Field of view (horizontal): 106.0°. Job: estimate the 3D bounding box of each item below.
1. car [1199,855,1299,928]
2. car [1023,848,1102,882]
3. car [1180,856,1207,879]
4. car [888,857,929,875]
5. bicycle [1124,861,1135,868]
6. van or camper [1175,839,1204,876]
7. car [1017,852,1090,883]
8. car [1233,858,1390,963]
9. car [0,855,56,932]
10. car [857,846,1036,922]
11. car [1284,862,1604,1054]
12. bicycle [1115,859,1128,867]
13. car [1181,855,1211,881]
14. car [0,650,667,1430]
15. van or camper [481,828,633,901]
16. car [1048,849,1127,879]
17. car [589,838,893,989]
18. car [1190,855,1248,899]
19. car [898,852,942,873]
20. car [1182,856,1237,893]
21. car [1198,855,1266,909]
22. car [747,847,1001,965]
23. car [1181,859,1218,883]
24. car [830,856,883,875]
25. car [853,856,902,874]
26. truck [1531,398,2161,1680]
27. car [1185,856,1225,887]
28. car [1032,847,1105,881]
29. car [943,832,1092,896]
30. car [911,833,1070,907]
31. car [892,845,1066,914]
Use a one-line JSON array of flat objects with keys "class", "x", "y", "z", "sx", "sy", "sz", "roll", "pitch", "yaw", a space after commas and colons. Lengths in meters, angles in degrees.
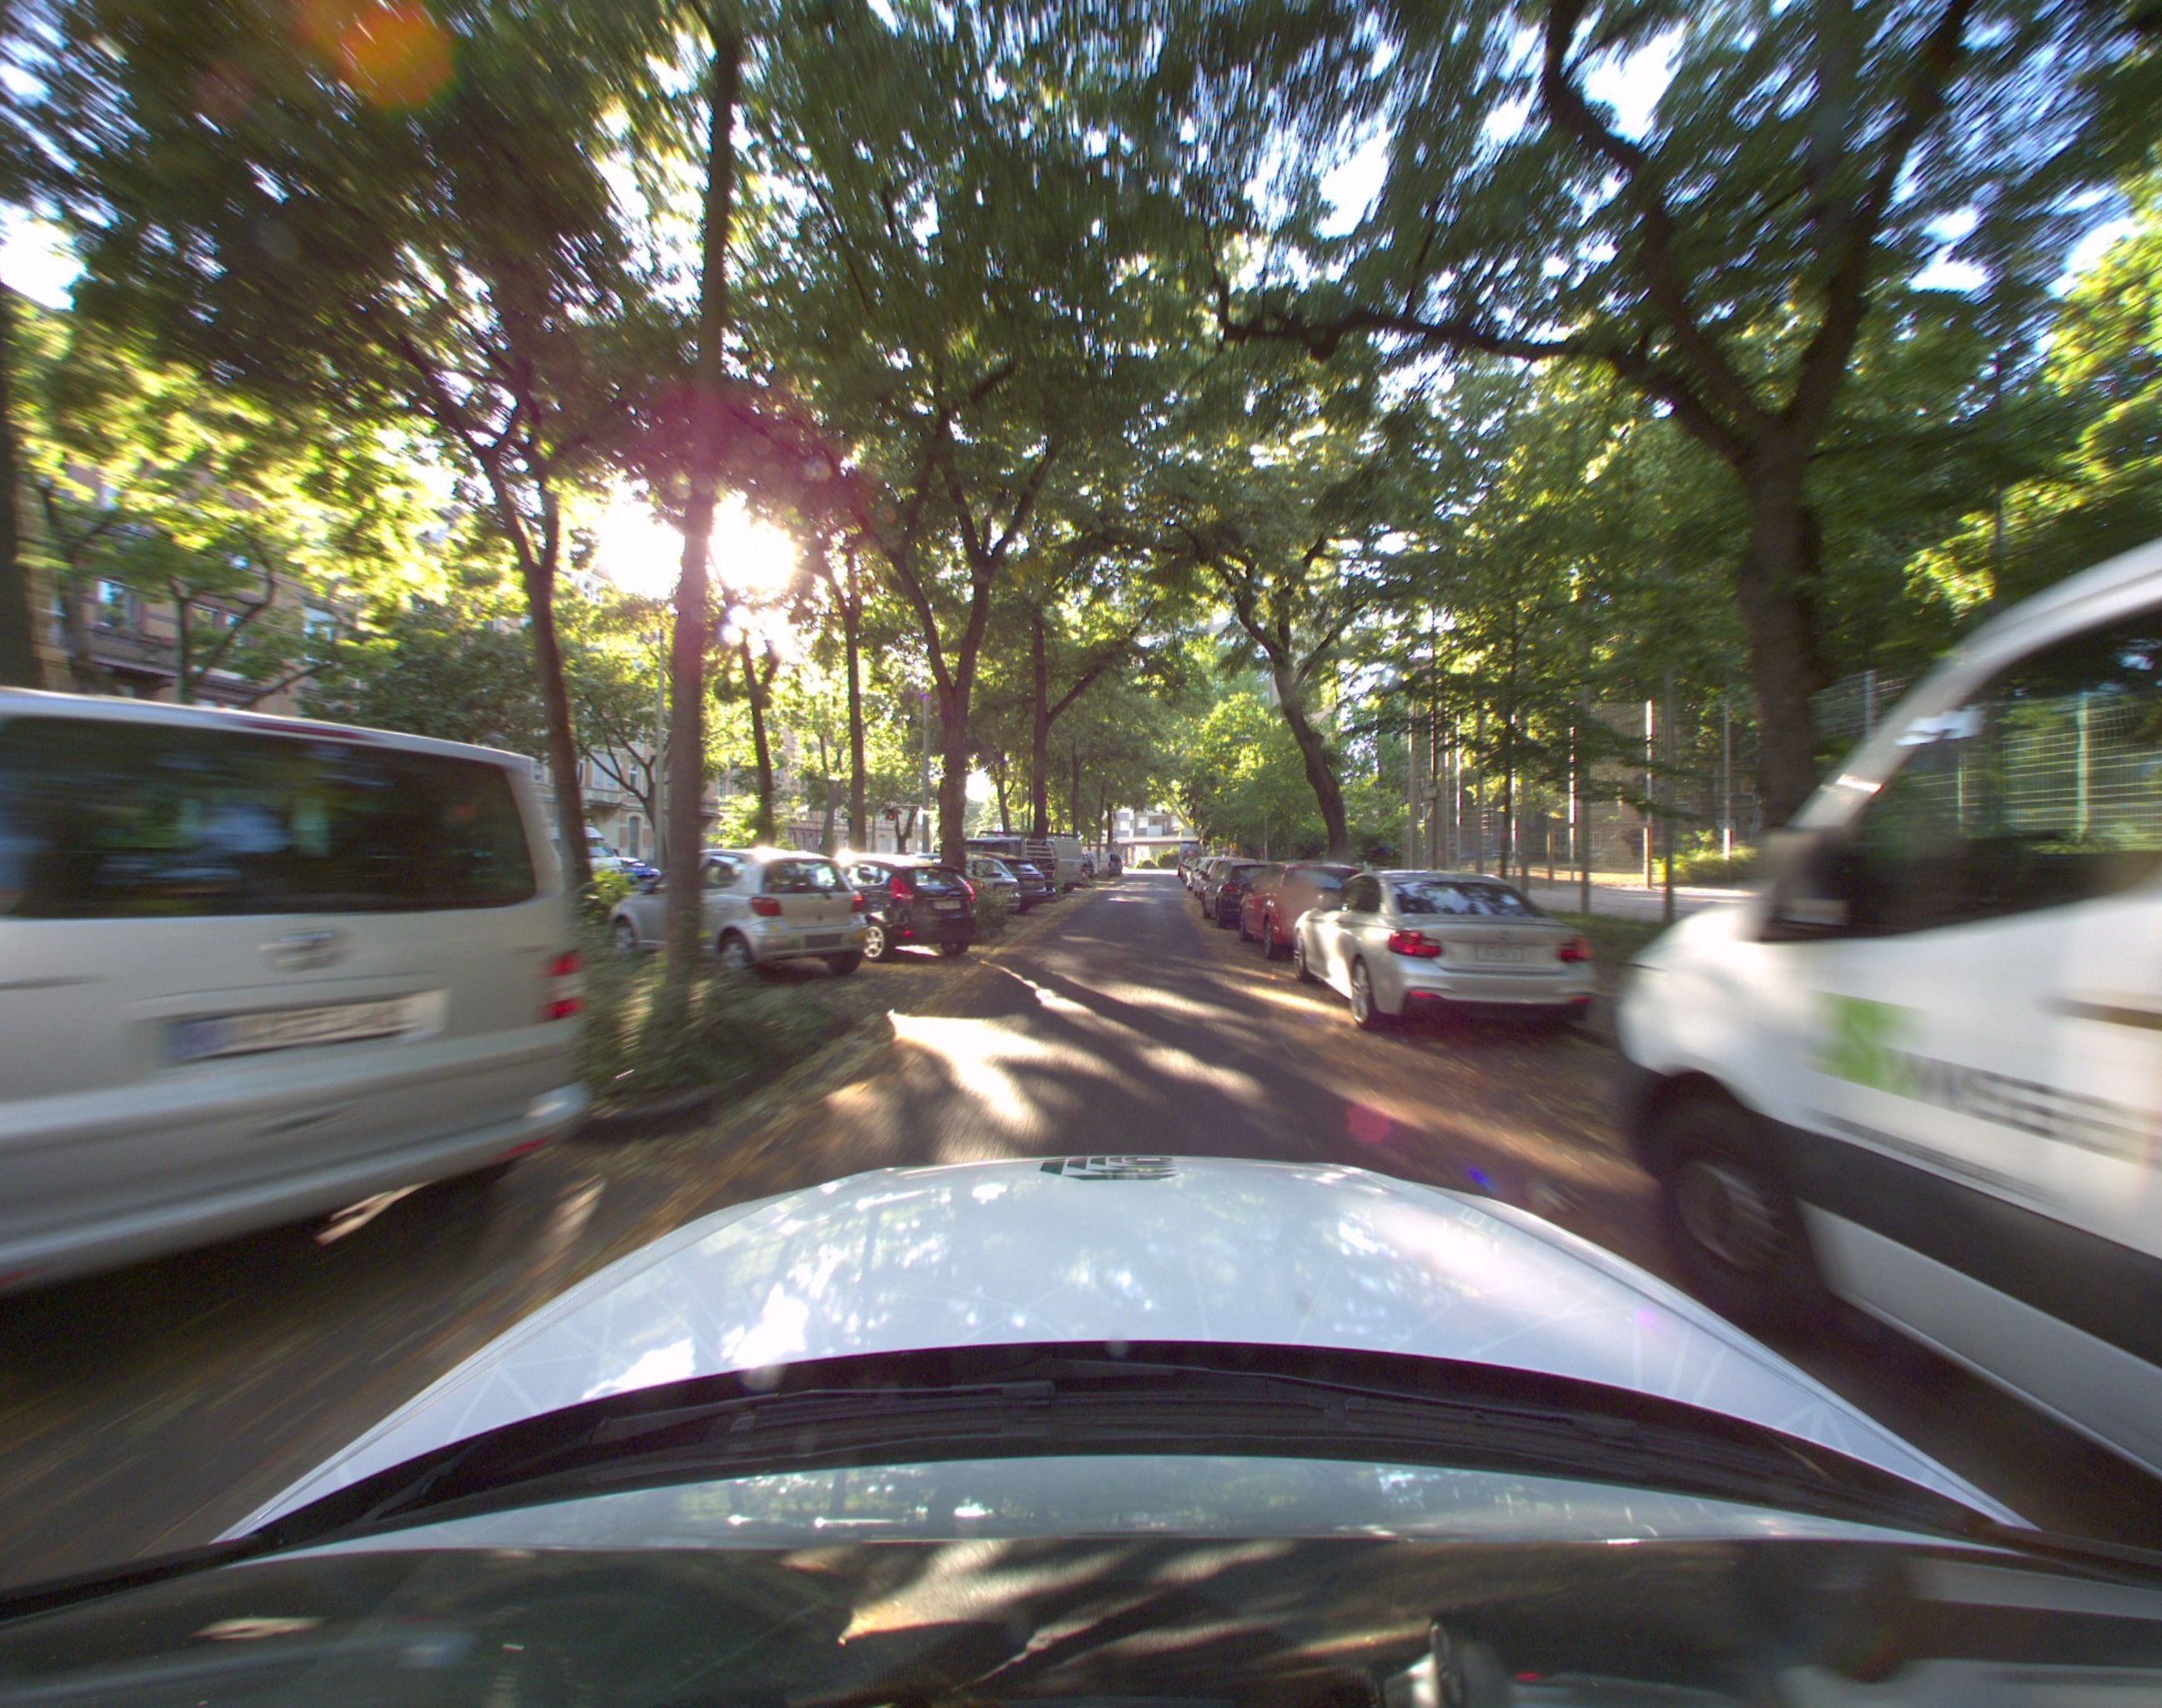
[{"class": "car", "x": 3.681, "y": 0.767, "z": 18.456, "sx": 1.665, "sy": 1.454, "sz": 3.952, "roll": 0, "pitch": 0, "yaw": 3}, {"class": "car", "x": -1.067, "y": 0.610, "z": 46.003, "sx": 4.107, "sy": 1.644, "sz": 1.927, "roll": 3, "pitch": 0, "yaw": 37}, {"class": "car", "x": 7.785, "y": 0.900, "z": 56.533, "sx": 1.672, "sy": 1.526, "sz": 4.496, "roll": 0, "pitch": 0, "yaw": 6}, {"class": "car", "x": -15.933, "y": 1.107, "z": 75.265, "sx": 3.603, "sy": 1.640, "sz": 1.671, "roll": -1, "pitch": 0, "yaw": 34}, {"class": "bicycle", "x": 6.139, "y": 1.282, "z": 102.821, "sx": 0.546, "sy": 0.904, "sz": 1.719, "roll": 0, "pitch": 0, "yaw": -29}, {"class": "van or camper", "x": 8.613, "y": 0.283, "z": 65.150, "sx": 2.073, "sy": 2.762, "sz": 5.854, "roll": 0, "pitch": 0, "yaw": 6}, {"class": "car", "x": -1.490, "y": 0.712, "z": 43.287, "sx": 3.384, "sy": 1.425, "sz": 1.845, "roll": 3, "pitch": 0, "yaw": 35}, {"class": "car", "x": 3.578, "y": 0.795, "z": 13.331, "sx": 1.665, "sy": 1.454, "sz": 3.952, "roll": 0, "pitch": 0, "yaw": 3}, {"class": "car", "x": -27.274, "y": 0.972, "z": 18.905, "sx": 1.843, "sy": 1.782, "sz": 3.919, "roll": 2, "pitch": 1, "yaw": 3}, {"class": "car", "x": -3.241, "y": 0.662, "z": 19.347, "sx": 4.041, "sy": 1.488, "sz": 1.795, "roll": 3, "pitch": 0, "yaw": 35}, {"class": "car", "x": 3.331, "y": 0.818, "z": 8.435, "sx": 1.665, "sy": 1.397, "sz": 4.304, "roll": 1, "pitch": 0, "yaw": 4}, {"class": "bicycle", "x": 5.170, "y": 1.163, "z": 104.486, "sx": 0.642, "sy": 1.022, "sz": 2.068, "roll": 0, "pitch": 0, "yaw": -29}, {"class": "car", "x": 7.203, "y": 0.850, "z": 51.262, "sx": 1.672, "sy": 1.526, "sz": 4.294, "roll": 0, "pitch": 0, "yaw": 6}, {"class": "car", "x": -4.399, "y": 0.412, "z": 3.912, "sx": 4.824, "sy": 1.978, "sz": 2.058, "roll": 2, "pitch": 0, "yaw": 33}, {"class": "van or camper", "x": -18.432, "y": 0.378, "z": 28.575, "sx": 5.480, "sy": 2.371, "sz": 2.322, "roll": -1, "pitch": 0, "yaw": 31}, {"class": "car", "x": 0.400, "y": 0.657, "z": 55.062, "sx": 4.938, "sy": 1.781, "sz": 2.000, "roll": 3, "pitch": 0, "yaw": 32}, {"class": "car", "x": -4.345, "y": 0.636, "z": 10.332, "sx": 3.505, "sy": 1.493, "sz": 1.837, "roll": 3, "pitch": 0, "yaw": 33}, {"class": "car", "x": 4.828, "y": 0.768, "z": 28.966, "sx": 1.673, "sy": 1.454, "sz": 4.081, "roll": 0, "pitch": 0, "yaw": 4}, {"class": "car", "x": -15.530, "y": 0.817, "z": 78.516, "sx": 3.948, "sy": 2.014, "sz": 2.013, "roll": -1, "pitch": 0, "yaw": 36}, {"class": "car", "x": 5.277, "y": 0.805, "z": 33.928, "sx": 1.675, "sy": 1.454, "sz": 4.076, "roll": 0, "pitch": 0, "yaw": 0}, {"class": "car", "x": 4.339, "y": 0.768, "z": 23.747, "sx": 1.583, "sy": 1.454, "sz": 3.559, "roll": 0, "pitch": 0, "yaw": 4}, {"class": "car", "x": -3.278, "y": 0.706, "z": 12.625, "sx": 3.776, "sy": 1.439, "sz": 1.837, "roll": 3, "pitch": 0, "yaw": 38}, {"class": "car", "x": 6.476, "y": 0.900, "z": 44.784, "sx": 1.673, "sy": 1.283, "sz": 4.292, "roll": 0, "pitch": 0, "yaw": 4}, {"class": "car", "x": -16.632, "y": 0.849, "z": 60.373, "sx": 3.691, "sy": 1.381, "sz": 1.718, "roll": 0, "pitch": 0, "yaw": 30}, {"class": "car", "x": -16.489, "y": 0.901, "z": 65.917, "sx": 3.691, "sy": 1.381, "sz": 1.738, "roll": 0, "pitch": 0, "yaw": 29}, {"class": "truck", "x": 3.106, "y": 0.342, "z": 0.319, "sx": 2.286, "sy": 2.386, "sz": 6.938, "roll": 0, "pitch": 0, "yaw": 2}, {"class": "car", "x": 6.000, "y": 0.835, "z": 39.918, "sx": 1.672, "sy": 1.424, "sz": 4.666, "roll": 0, "pitch": 0, "yaw": 5}, {"class": "car", "x": -0.763, "y": 0.587, "z": 49.216, "sx": 4.108, "sy": 1.781, "sz": 1.895, "roll": 3, "pitch": 0, "yaw": 41}, {"class": "car", "x": -2.491, "y": 0.338, "z": 31.143, "sx": 5.444, "sy": 2.137, "sz": 2.094, "roll": 3, "pitch": 0, "yaw": 34}, {"class": "car", "x": -2.811, "y": 0.445, "z": 24.794, "sx": 4.653, "sy": 1.943, "sz": 1.946, "roll": 3, "pitch": 0, "yaw": 37}, {"class": "car", "x": -2.825, "y": 0.649, "z": 22.024, "sx": 4.513, "sy": 1.541, "sz": 1.946, "roll": 3, "pitch": 0, "yaw": 37}]
